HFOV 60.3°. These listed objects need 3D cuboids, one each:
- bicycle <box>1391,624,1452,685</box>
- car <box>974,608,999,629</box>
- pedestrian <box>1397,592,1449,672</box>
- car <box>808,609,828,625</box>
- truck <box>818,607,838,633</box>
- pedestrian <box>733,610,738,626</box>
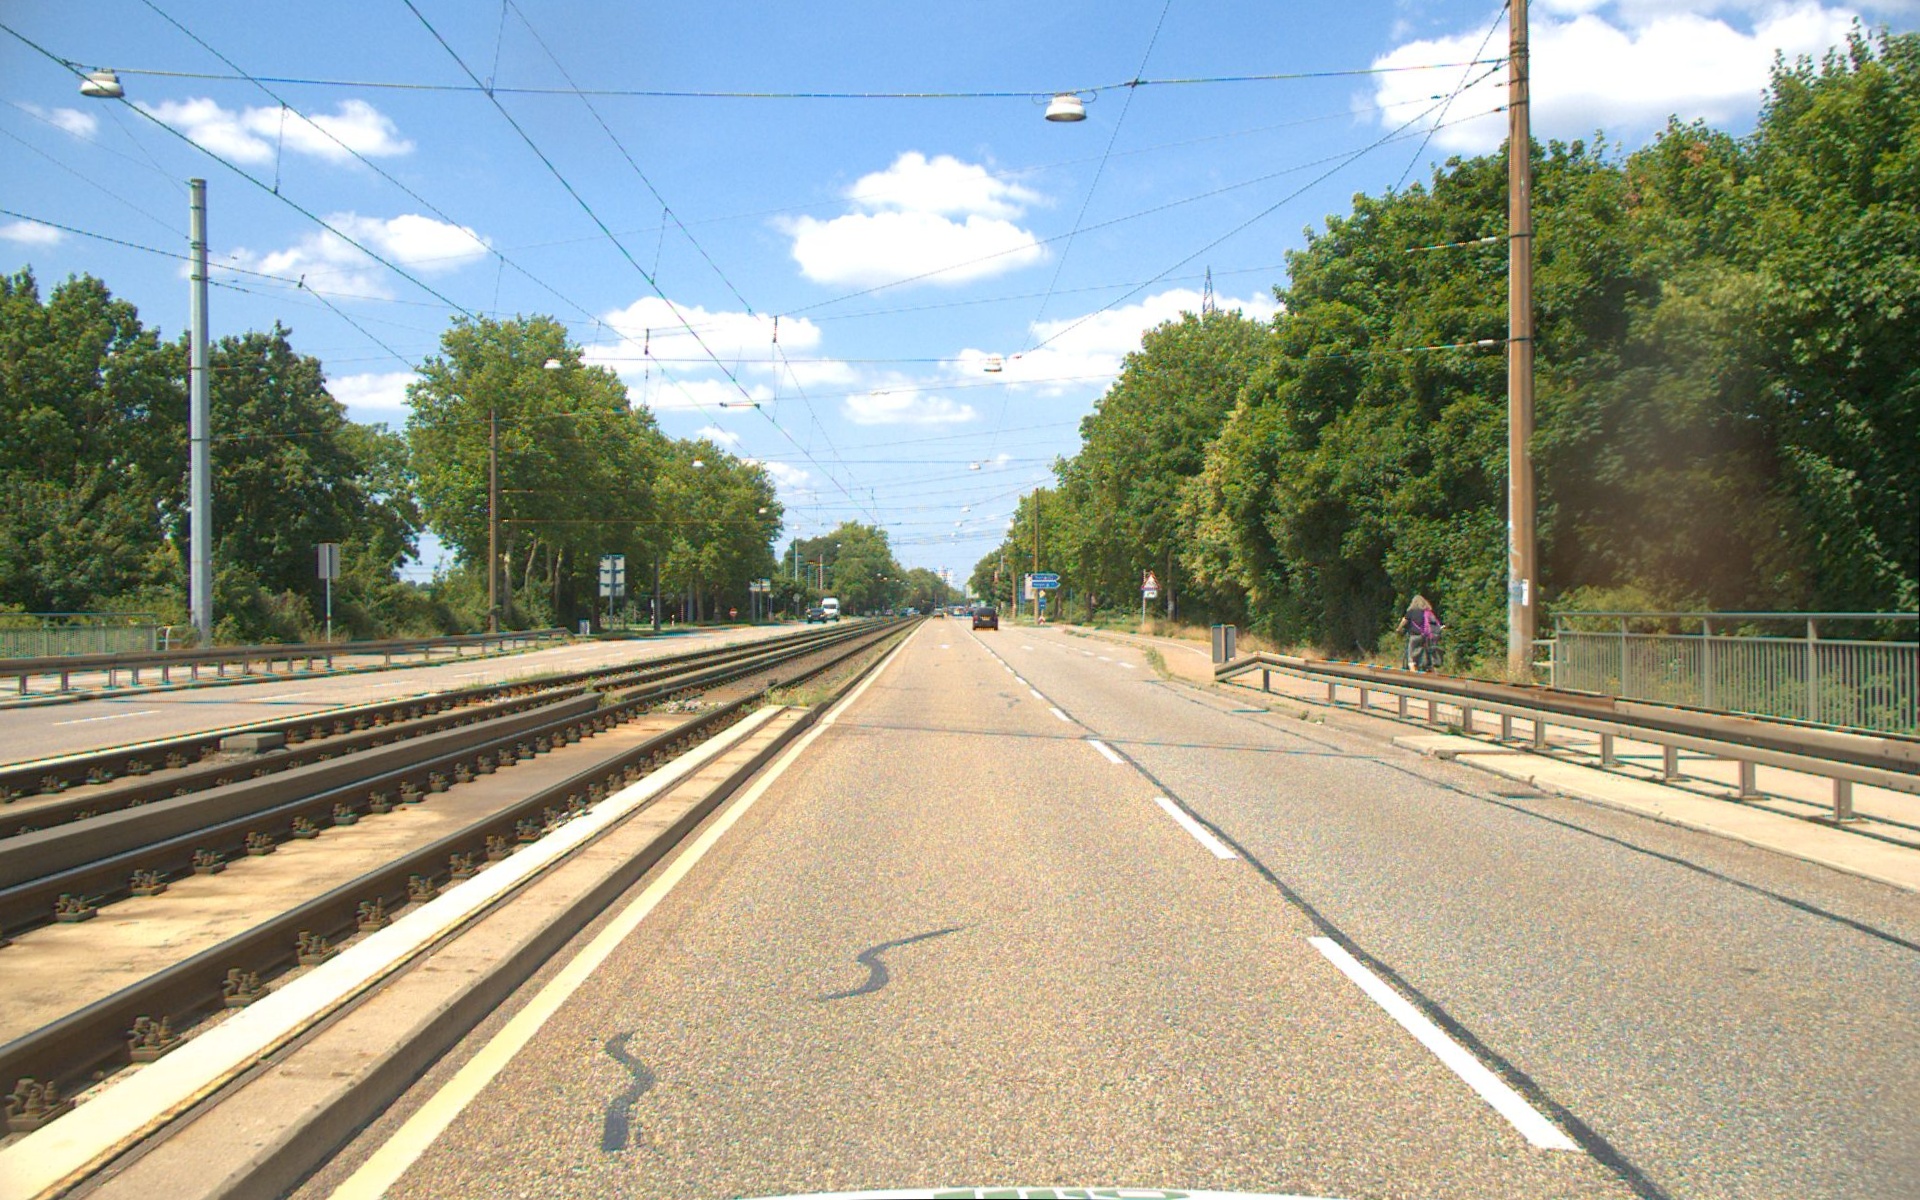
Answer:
[{"bbox_3d":[8.246,0.955,29.618,0.548,1.042,1.847,-1,-1,-1],"label":"bicycle"},{"bbox_3d":[1.840,1.250,114.062,1.554,1.366,3.271,-1,0,-2],"label":"car"},{"bbox_3d":[8.258,0.558,29.540,0.615,1.398,1.050,-1,0,-1],"label":"pedestrian"},{"bbox_3d":[-14.938,1.779,174.318,1.781,1.541,4.427,-1,0,-1],"label":"car"},{"bbox_3d":[-15.852,2.367,198.844,2.012,2.990,6.318,-1,0,-1],"label":"truck"},{"bbox_3d":[-22.192,1.777,163.448,0.503,1.578,0.703,-1,0,-6],"label":"pedestrian"}]
